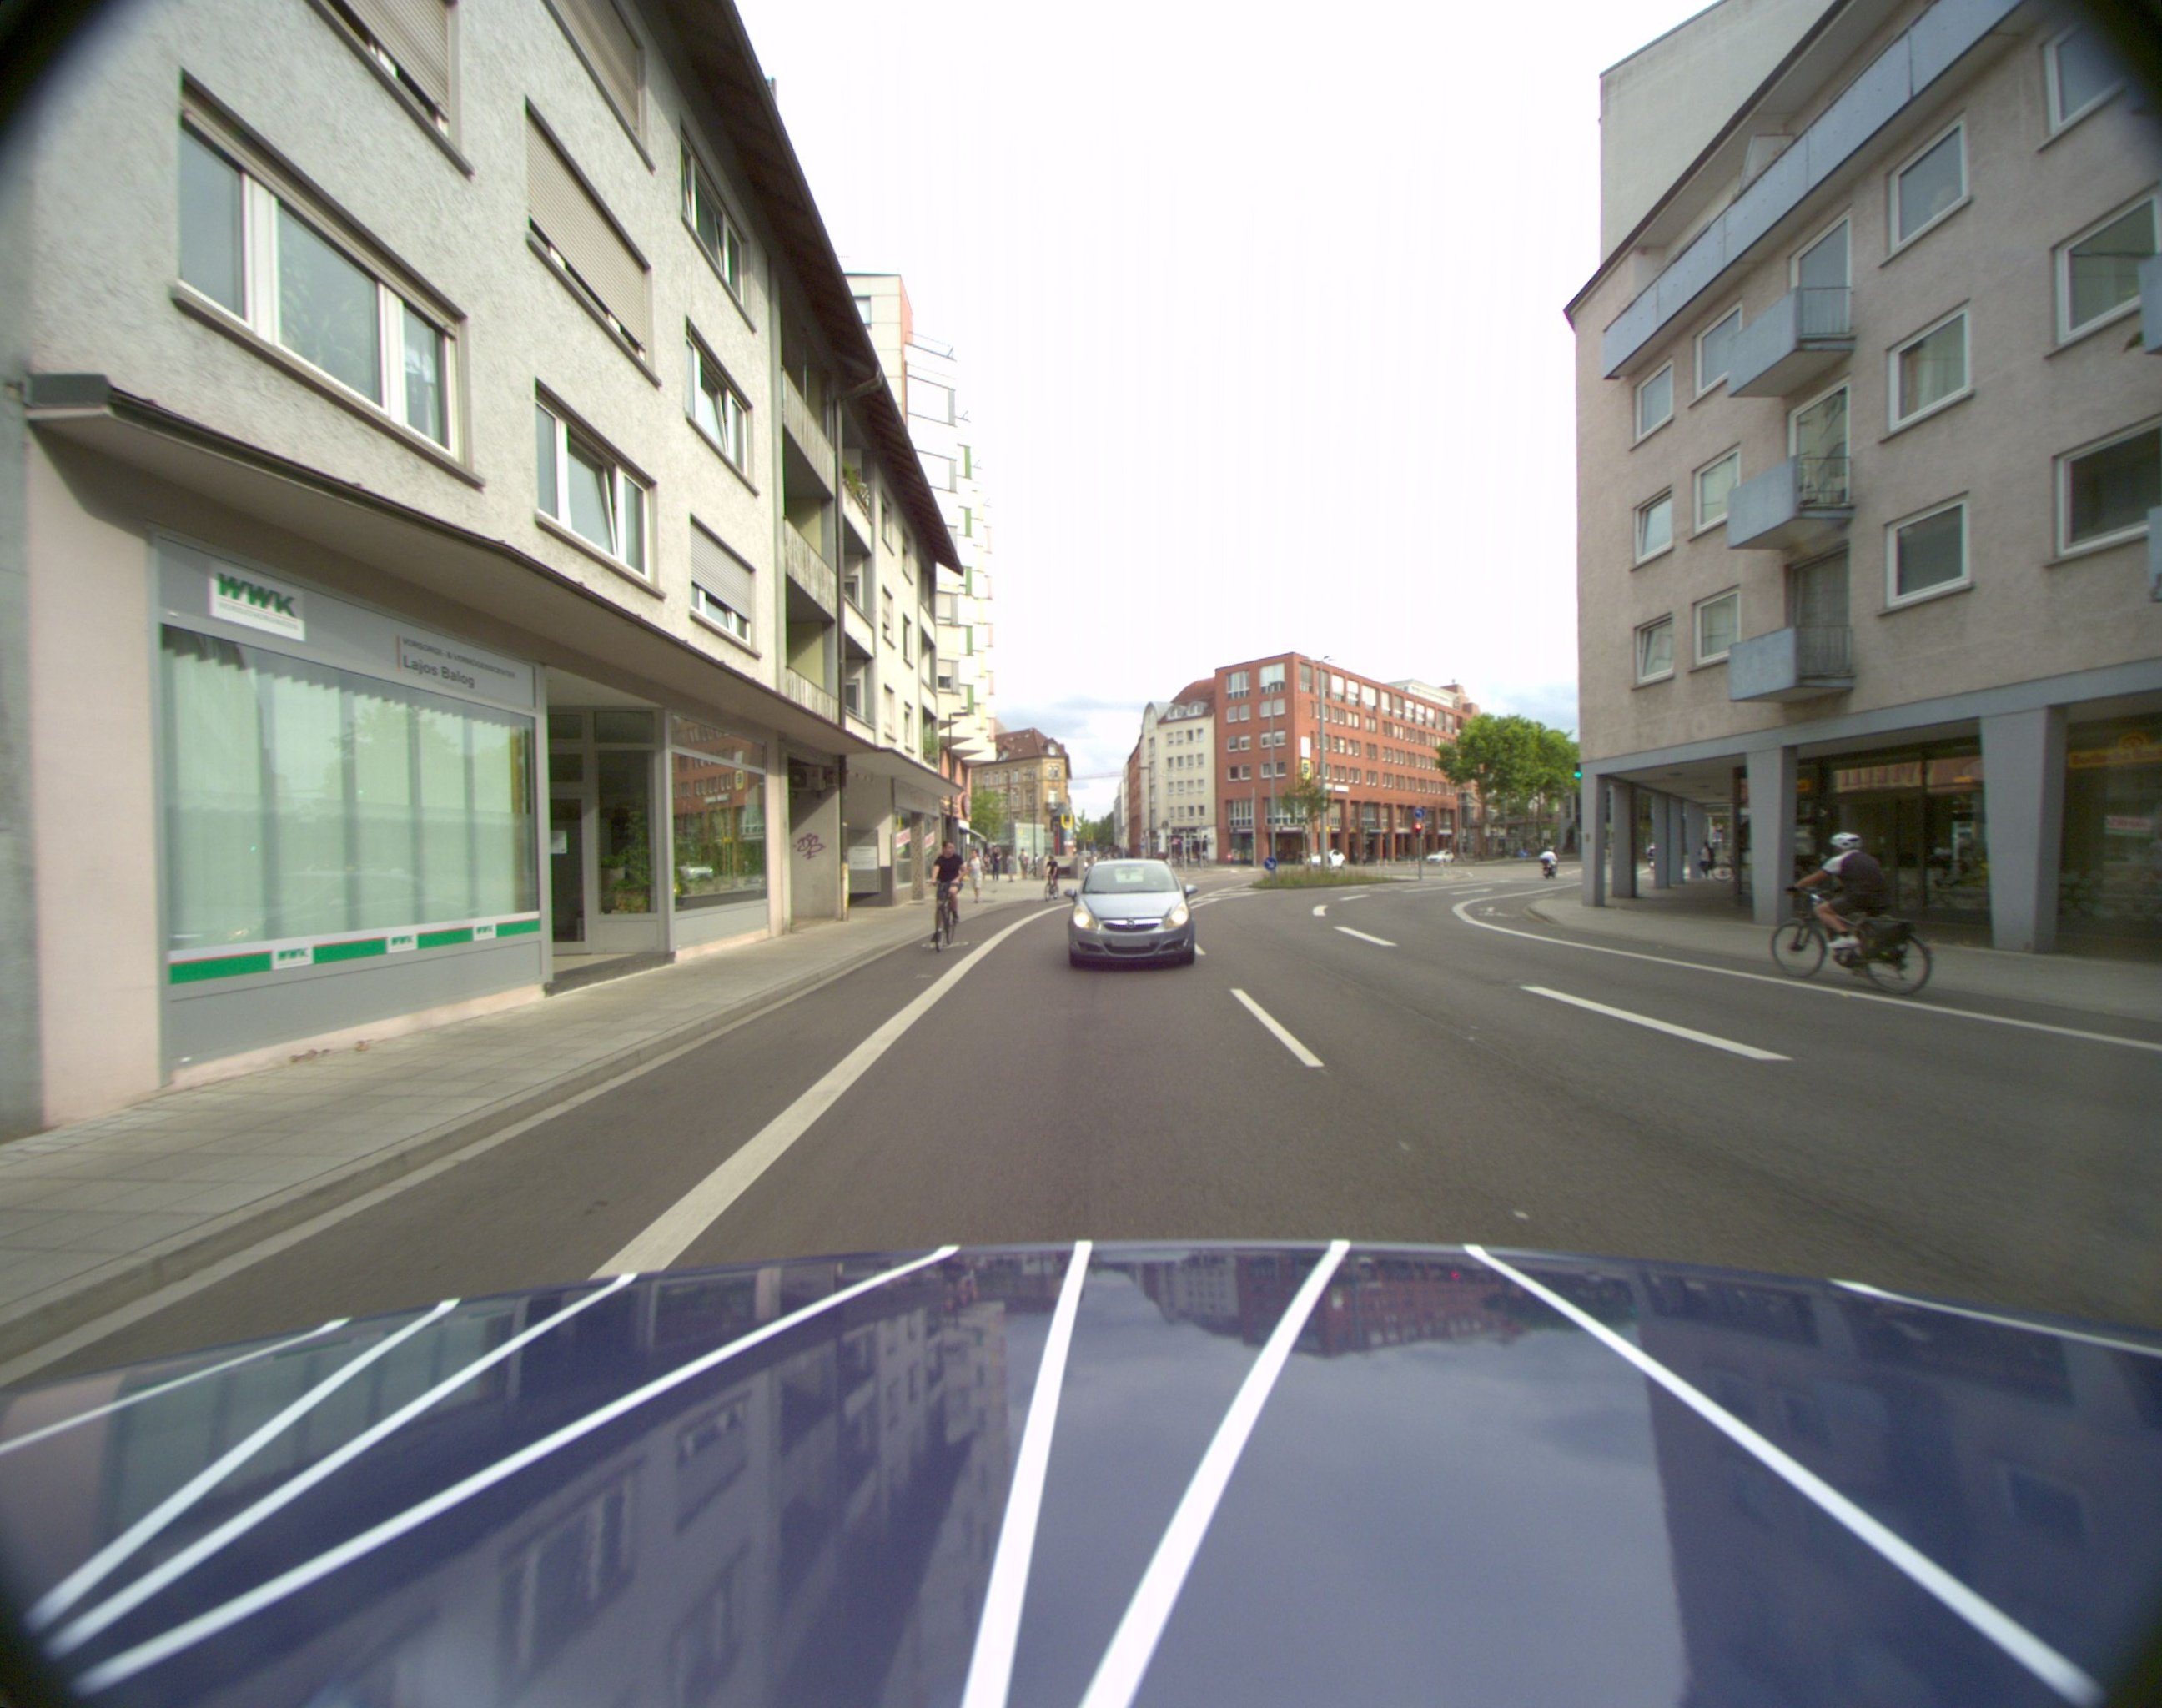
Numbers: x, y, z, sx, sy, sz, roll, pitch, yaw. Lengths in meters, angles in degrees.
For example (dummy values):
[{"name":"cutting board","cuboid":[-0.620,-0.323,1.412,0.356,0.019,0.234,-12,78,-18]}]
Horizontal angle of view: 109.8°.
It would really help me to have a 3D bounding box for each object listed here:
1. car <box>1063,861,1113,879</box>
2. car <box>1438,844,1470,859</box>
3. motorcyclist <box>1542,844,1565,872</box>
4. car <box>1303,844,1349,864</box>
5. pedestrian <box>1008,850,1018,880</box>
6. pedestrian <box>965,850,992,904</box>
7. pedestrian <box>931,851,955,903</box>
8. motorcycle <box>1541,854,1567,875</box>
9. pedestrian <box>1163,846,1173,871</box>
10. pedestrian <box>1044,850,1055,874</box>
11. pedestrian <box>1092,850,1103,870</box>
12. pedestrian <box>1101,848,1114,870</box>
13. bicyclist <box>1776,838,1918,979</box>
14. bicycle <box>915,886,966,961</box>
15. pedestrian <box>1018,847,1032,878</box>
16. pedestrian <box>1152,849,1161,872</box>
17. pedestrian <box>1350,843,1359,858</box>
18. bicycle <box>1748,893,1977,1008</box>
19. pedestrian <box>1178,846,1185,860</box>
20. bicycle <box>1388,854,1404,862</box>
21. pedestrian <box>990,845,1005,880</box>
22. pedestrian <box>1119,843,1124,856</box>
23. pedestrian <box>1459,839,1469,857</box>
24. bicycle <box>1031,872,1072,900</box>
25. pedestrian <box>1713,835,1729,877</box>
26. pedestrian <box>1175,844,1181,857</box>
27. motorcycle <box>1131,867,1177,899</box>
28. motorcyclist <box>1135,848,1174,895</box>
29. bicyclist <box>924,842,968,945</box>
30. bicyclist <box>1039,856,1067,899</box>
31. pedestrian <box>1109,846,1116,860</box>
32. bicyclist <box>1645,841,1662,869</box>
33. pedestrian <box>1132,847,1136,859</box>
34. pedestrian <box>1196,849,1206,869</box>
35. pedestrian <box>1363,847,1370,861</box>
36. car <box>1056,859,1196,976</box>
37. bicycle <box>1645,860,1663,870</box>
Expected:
[{"name":"car","cuboid":[0.627,1.502,71.680,2.004,1.503,4.590,-3,2,-44]},{"name":"car","cuboid":[41.700,-0.238,84.952,4.008,1.592,1.953,-1,1,-45]},{"name":"motorcyclist","cuboid":[25.063,0.212,40.291,0.796,1.452,0.867,2,2,45]},{"name":"car","cuboid":[20.159,-0.005,62.502,4.008,1.592,1.953,-1,1,-45]},{"name":"pedestrian","cuboid":[-3.794,0.623,42.334,0.473,1.663,0.590,2,1,1]},{"name":"pedestrian","cuboid":[-3.374,0.734,25.006,0.753,1.740,0.859,-1,1,0]},{"name":"pedestrian","cuboid":[-4.546,0.737,25.087,0.606,1.659,0.944,-1,1,-1]},{"name":"motorcycle","cuboid":[25.142,0.565,40.385,0.721,1.088,2.040,2,1,44]},{"name":"pedestrian","cuboid":[6.765,0.356,59.197,0.720,1.960,1.015,2,0,8]},{"name":"pedestrian","cuboid":[-2.486,0.657,59.723,0.547,1.856,0.586,0,0,40]},{"name":"pedestrian","cuboid":[1.373,0.519,63.995,0.633,1.685,0.708,0,0,44]},{"name":"pedestrian","cuboid":[2.272,0.433,64.627,0.639,1.843,0.879,0,0,45]},{"name":"bicyclist","cuboid":[8.821,0.588,8.797,0.658,1.517,1.002,-3,2,5]},{"name":"bicycle","cuboid":[-2.343,1.118,12.836,0.407,1.115,2.018,-2,-1,1]},{"name":"pedestrian","cuboid":[-3.451,0.531,46.513,0.658,1.842,0.971,2,1,3]},{"name":"pedestrian","cuboid":[5.926,0.510,59.532,0.675,1.789,0.887,2,0,7]},{"name":"pedestrian","cuboid":[31.203,-0.404,86.678,0.645,1.686,0.699,2,3,43]},{"name":"bicycle","cuboid":[8.802,1.038,8.700,0.739,1.001,1.909,-1,2,5]},{"name":"pedestrian","cuboid":[11.605,-0.141,87.808,0.707,1.638,0.721,-1,0,-8]},{"name":"bicycle","cuboid":[40.627,0.541,97.937,0.509,1.034,1.855,-1,1,-44]},{"name":"pedestrian","cuboid":[-4.652,0.477,42.423,0.673,1.892,0.590,2,1,1]},{"name":"pedestrian","cuboid":[5.802,-0.644,108.518,0.591,1.712,0.520,-1,1,-3]},{"name":"pedestrian","cuboid":[39.530,-0.635,78.402,0.808,1.864,0.692,-1,1,-44]},{"name":"bicycle","cuboid":[-1.090,1.195,28.669,0.488,0.994,1.751,-2,0,38]},{"name":"pedestrian","cuboid":[26.639,0.085,31.615,0.476,1.755,0.590,0,0,45]},{"name":"pedestrian","cuboid":[11.127,-0.384,87.093,0.593,1.502,0.629,-1,0,-8]},{"name":"motorcycle","cuboid":[2.443,0.941,25.188,0.569,0.962,2.018,0,0,36]},{"name":"motorcyclist","cuboid":[2.453,0.556,25.227,0.870,1.508,1.046,0,1,35]},{"name":"bicyclist","cuboid":[-2.296,0.652,12.998,0.560,1.699,0.863,-1,1,2]},{"name":"bicyclist","cuboid":[-1.060,0.879,28.728,0.612,1.594,0.849,-3,-1,39]},{"name":"pedestrian","cuboid":[3.894,-0.162,94.014,0.606,1.675,0.732,-5,2,-21]},{"name":"bicyclist","cuboid":[33.650,0.039,44.664,1.039,1.636,0.608,-1,1,-42]},{"name":"pedestrian","cuboid":[7.589,-0.116,108.580,0.541,1.712,0.520,-1,1,0]},{"name":"pedestrian","cuboid":[11.078,0.468,70.258,0.567,1.813,0.697,0,0,44]},{"name":"pedestrian","cuboid":[33.066,-0.044,88.019,0.733,1.623,0.406,-1,3,-37]},{"name":"car","cuboid":[0.732,0.801,11.384,1.722,1.394,4.001,0,0,5]},{"name":"bicycle","cuboid":[33.655,0.646,44.607,2.002,0.585,0.484,-1,0,-42]}]
